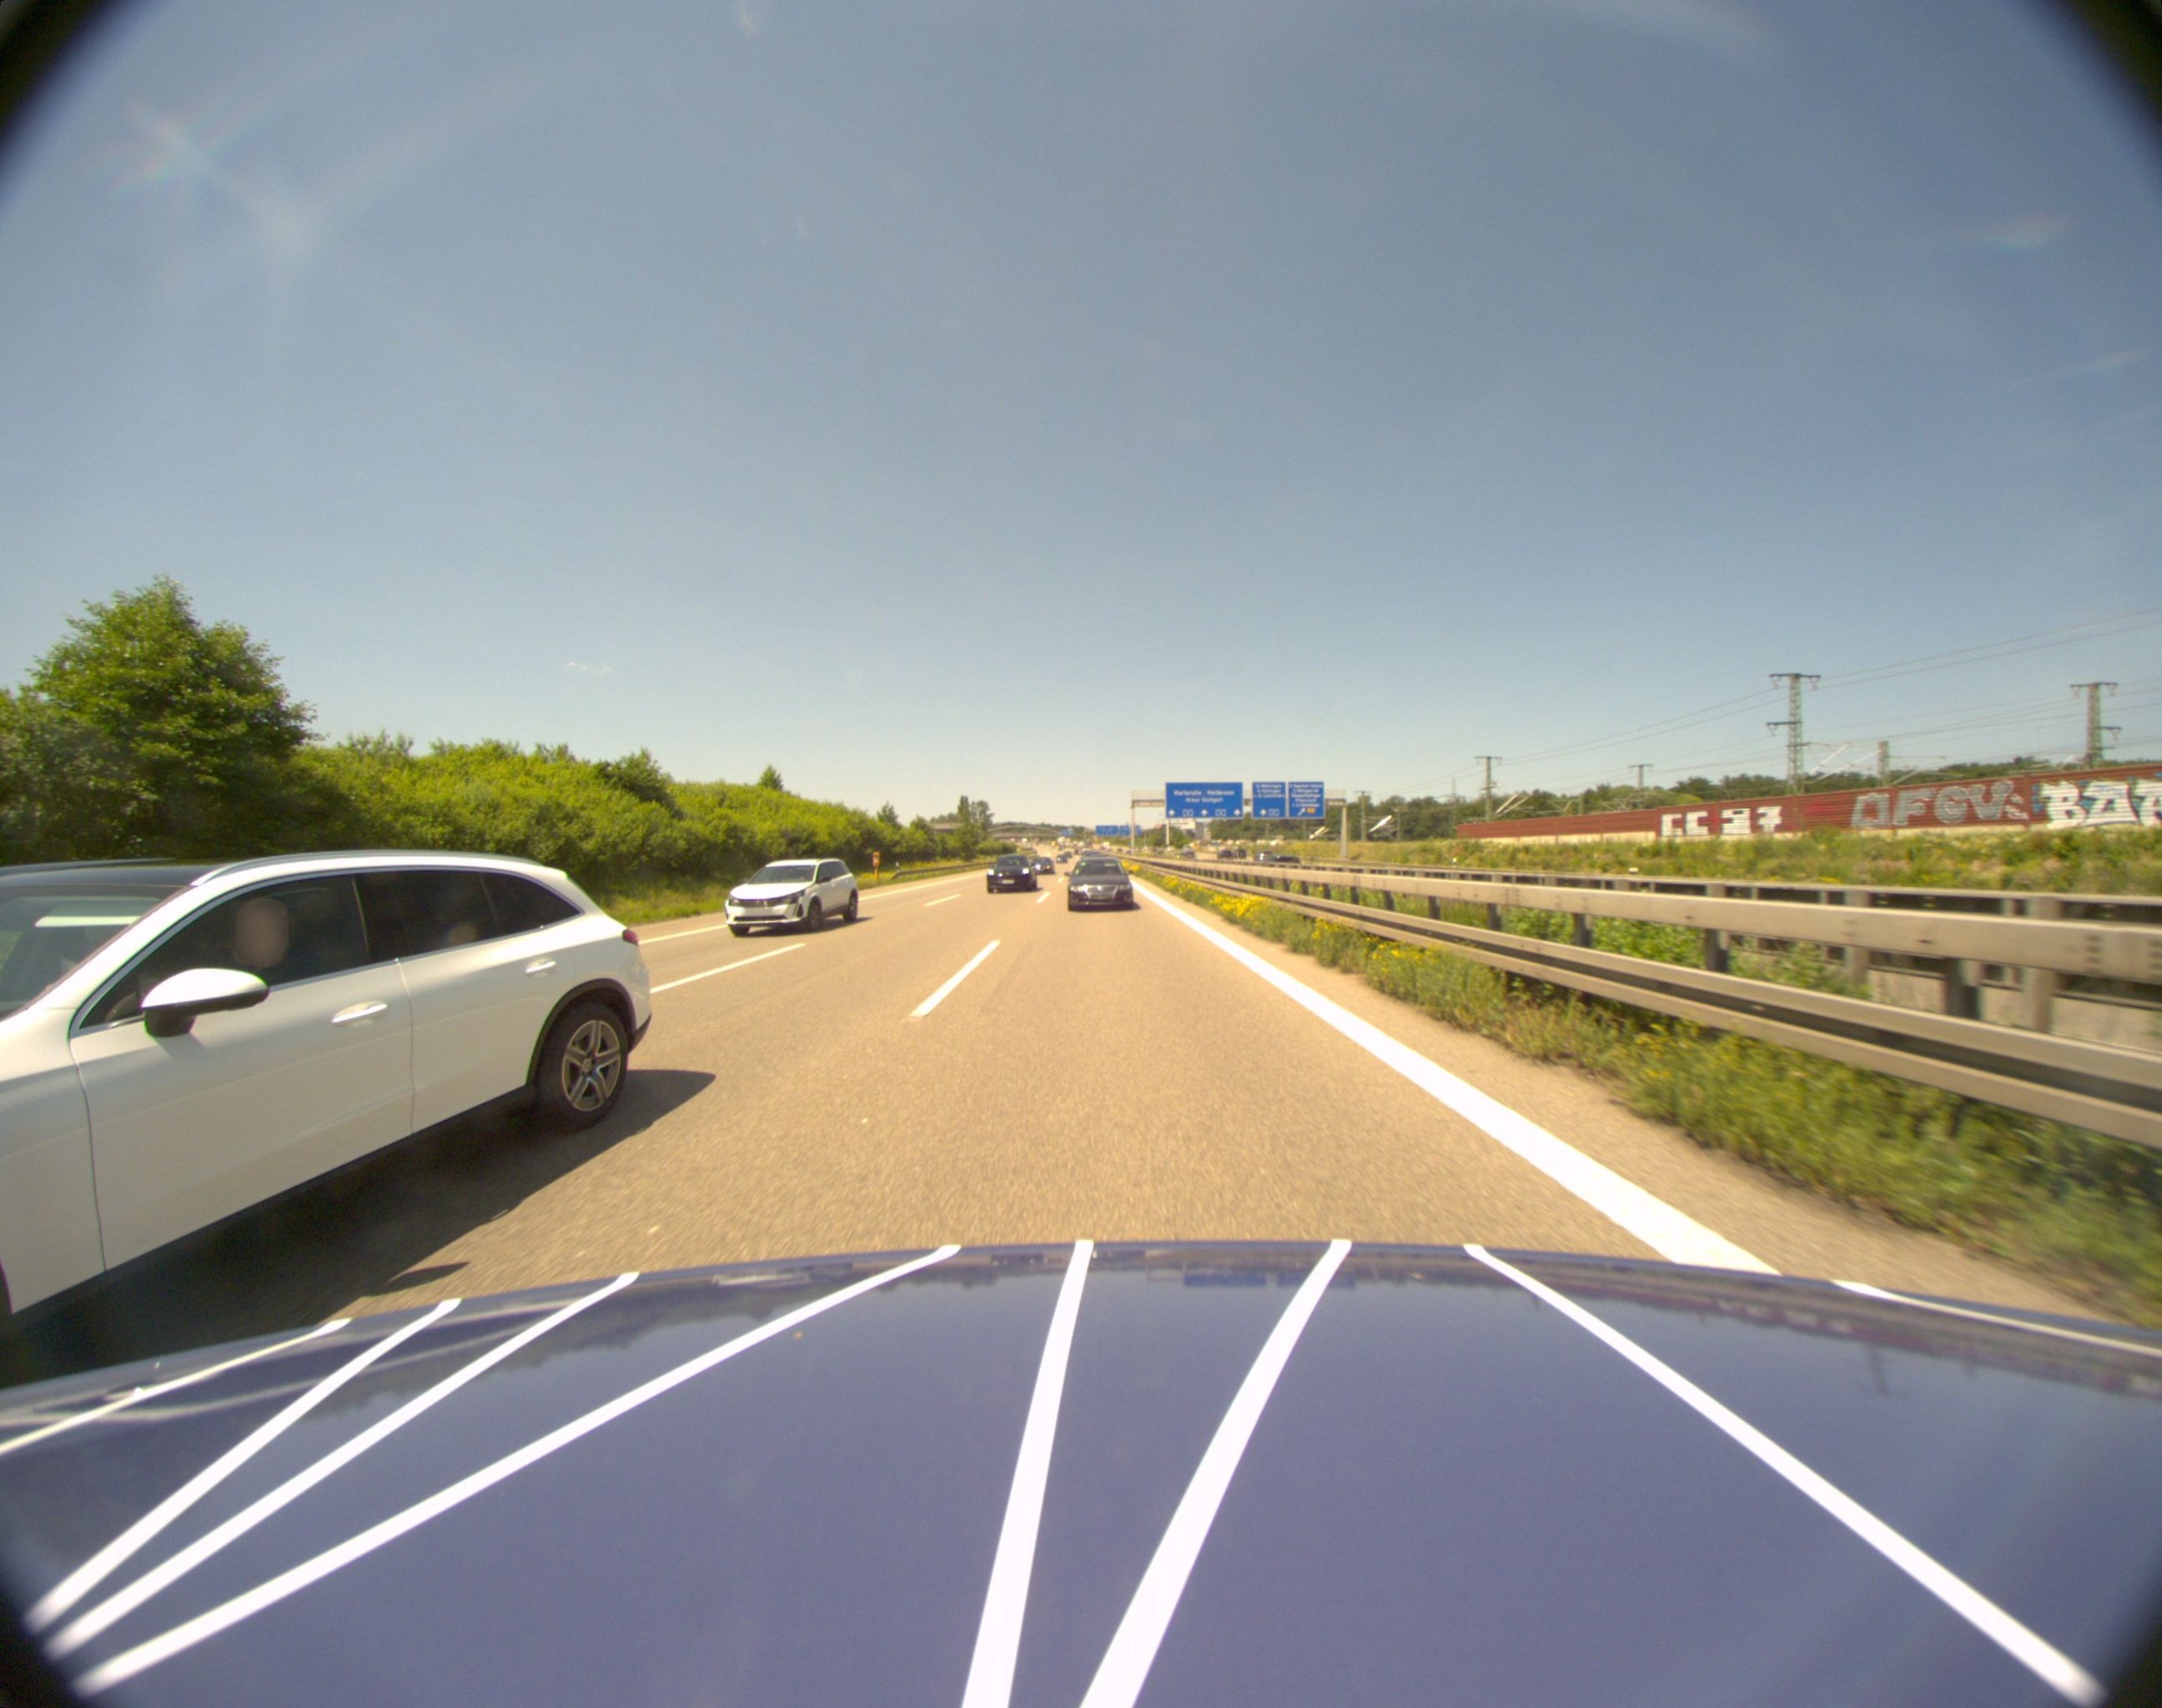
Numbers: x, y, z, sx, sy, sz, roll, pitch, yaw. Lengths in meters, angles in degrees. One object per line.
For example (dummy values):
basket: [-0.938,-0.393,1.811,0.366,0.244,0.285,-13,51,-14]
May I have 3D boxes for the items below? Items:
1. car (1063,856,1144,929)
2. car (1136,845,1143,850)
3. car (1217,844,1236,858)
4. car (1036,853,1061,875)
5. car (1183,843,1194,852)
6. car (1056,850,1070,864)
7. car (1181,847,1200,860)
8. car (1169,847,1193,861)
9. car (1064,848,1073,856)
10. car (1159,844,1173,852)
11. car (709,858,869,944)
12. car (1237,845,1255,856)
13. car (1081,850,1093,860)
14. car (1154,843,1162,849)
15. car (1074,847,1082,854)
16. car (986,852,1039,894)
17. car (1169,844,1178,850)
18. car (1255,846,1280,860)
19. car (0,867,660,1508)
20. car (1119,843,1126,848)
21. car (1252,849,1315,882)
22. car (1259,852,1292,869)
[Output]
car: [0.491,0.851,18.849,1.752,1.462,3.999,-2,1,0]
car: [17.866,-2.015,231.292,1.998,1.567,4.476,-2,1,1]
car: [21.739,-0.453,113.427,1.998,2.002,4.308,-3,1,1]
car: [-2.469,0.727,57.707,1.752,1.462,3.998,-2,1,-2]
car: [25.774,-1.560,182.654,1.998,1.875,4.977,-2,1,2]
car: [-2.713,0.484,114.661,1.999,2.002,3.999,-2,1,-1]
car: [14.564,-0.046,100.914,1.998,1.686,4.188,0,1,1]
car: [10.441,-0.021,79.327,1.998,1.478,4.154,0,1,1]
car: [-2.753,-0.474,165.915,1.999,1.691,3.999,-2,1,-1]
car: [15.344,-1.006,137.686,1.872,1.387,4.511,-1,1,-2]
car: [-6.747,0.992,18.184,1.898,1.620,4.616,-2,1,1]
car: [26.198,-0.612,120.984,1.998,1.716,4.513,-2,1,2]
car: [1.091,0.130,141.734,1.999,1.691,3.999,-2,1,-1]
car: [22.409,-2.288,221.961,1.998,1.567,4.477,-2,1,3]
car: [-0.857,-1.085,219.231,1.998,2.002,3.999,-3,1,1]
car: [-2.968,0.788,33.857,1.983,1.620,4.615,-2,1,-1]
car: [26.007,-2.049,214.638,1.998,1.567,4.476,-2,1,1]
car: [23.160,-0.133,94.582,1.998,1.716,4.512,-2,1,1]
car: [-3.851,0.953,2.807,1.909,1.646,4.636,-2,0,1]
car: [13.638,-2.719,249.471,1.934,1.475,4.475,-2,1,0]
car: [9.873,0.539,37.388,1.998,1.455,4.385,-2,0,1]
car: [17.403,0.572,68.196,1.998,1.478,3.931,0,1,1]
